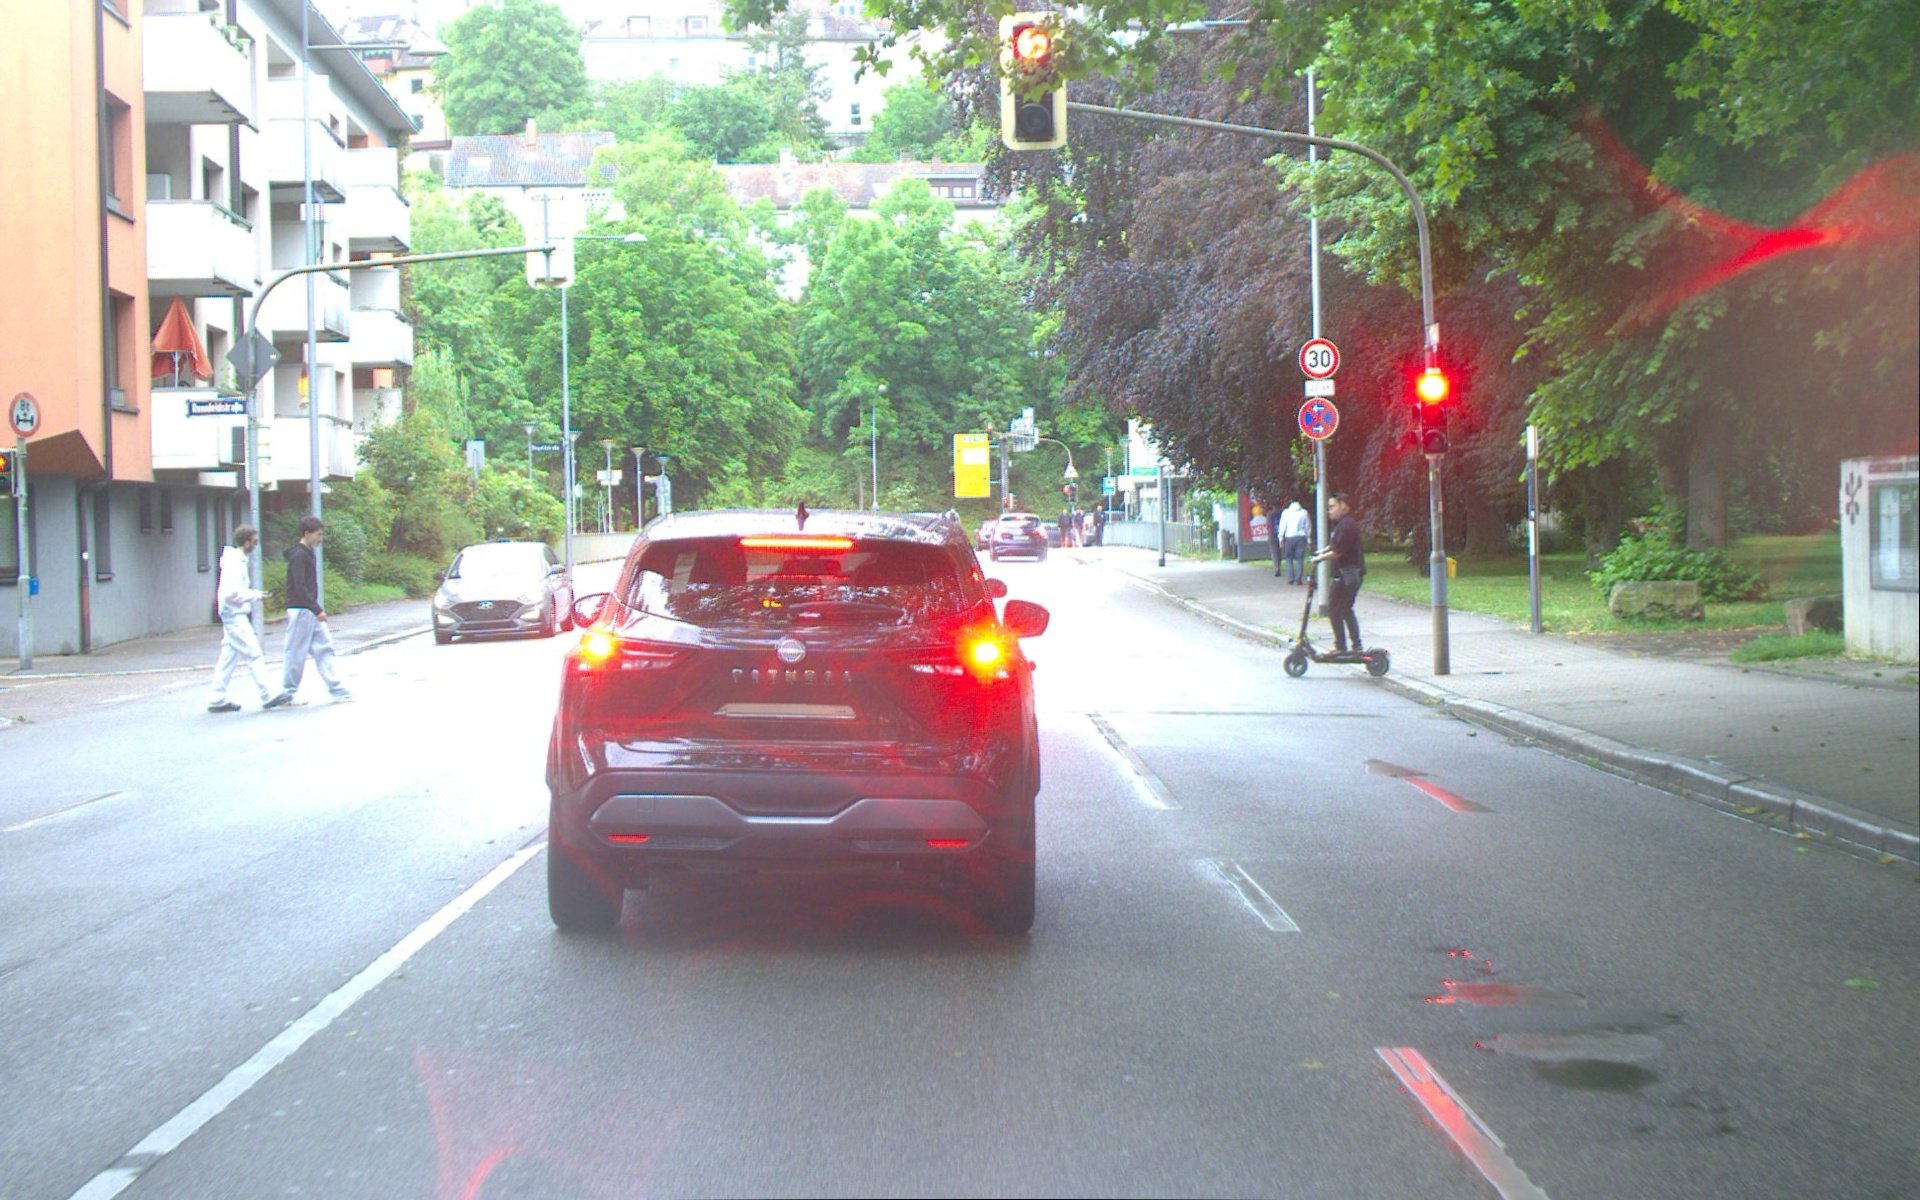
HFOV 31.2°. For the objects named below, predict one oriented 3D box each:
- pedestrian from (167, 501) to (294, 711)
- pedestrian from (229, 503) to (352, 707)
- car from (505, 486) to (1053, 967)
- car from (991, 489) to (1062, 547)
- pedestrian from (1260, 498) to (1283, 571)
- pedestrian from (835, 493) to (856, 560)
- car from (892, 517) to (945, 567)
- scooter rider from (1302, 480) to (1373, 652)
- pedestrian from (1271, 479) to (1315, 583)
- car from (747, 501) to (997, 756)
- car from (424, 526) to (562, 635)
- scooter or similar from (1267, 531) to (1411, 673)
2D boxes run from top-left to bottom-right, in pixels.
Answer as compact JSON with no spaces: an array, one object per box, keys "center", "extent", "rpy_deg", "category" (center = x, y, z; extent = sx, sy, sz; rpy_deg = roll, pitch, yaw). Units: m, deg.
[{"center":[-6.728,0.045,31.731],"extent":[1.035,1.869,0.658],"rpy_deg":[-3,1,-11],"category":"pedestrian"},{"center":[-6.360,0.041,32.655],"extent":[1.035,1.869,0.658],"rpy_deg":[-3,1,-11],"category":"pedestrian"},{"center":[-0.656,0.400,14.088],"extent":[1.913,1.674,4.000],"rpy_deg":[0,1,-1],"category":"car"},{"center":[2.127,-2.568,108.450],"extent":[1.994,1.729,3.999],"rpy_deg":[1,1,4],"category":"car"},{"center":[6.466,-1.365,71.393],"extent":[0.390,1.497,0.559],"rpy_deg":[-2,1,-1],"category":"pedestrian"},{"center":[-3.122,-1.987,93.434],"extent":[0.508,1.795,0.619],"rpy_deg":[-2,1,-2],"category":"pedestrian"},{"center":[-1.326,-1.866,110.118],"extent":[1.634,1.527,3.968],"rpy_deg":[-2,1,-1],"category":"car"},{"center":[3.926,-0.348,35.756],"extent":[0.643,1.760,0.735],"rpy_deg":[-1,0,12],"category":"scooter rider"},{"center":[6.533,-1.363,67.503],"extent":[0.725,2.007,0.851],"rpy_deg":[-2,1,-1],"category":"pedestrian"},{"center":[-0.640,0.157,25.898],"extent":[1.698,1.739,3.641],"rpy_deg":[-2,1,-1],"category":"car"},{"center":[-7.067,-0.326,52.290],"extent":[1.795,1.528,3.868],"rpy_deg":[-2,1,-4],"category":"car"},{"center":[3.944,0.019,35.761],"extent":[1.394,1.441,0.816],"rpy_deg":[-1,0,12],"category":"scooter or similar"}]
